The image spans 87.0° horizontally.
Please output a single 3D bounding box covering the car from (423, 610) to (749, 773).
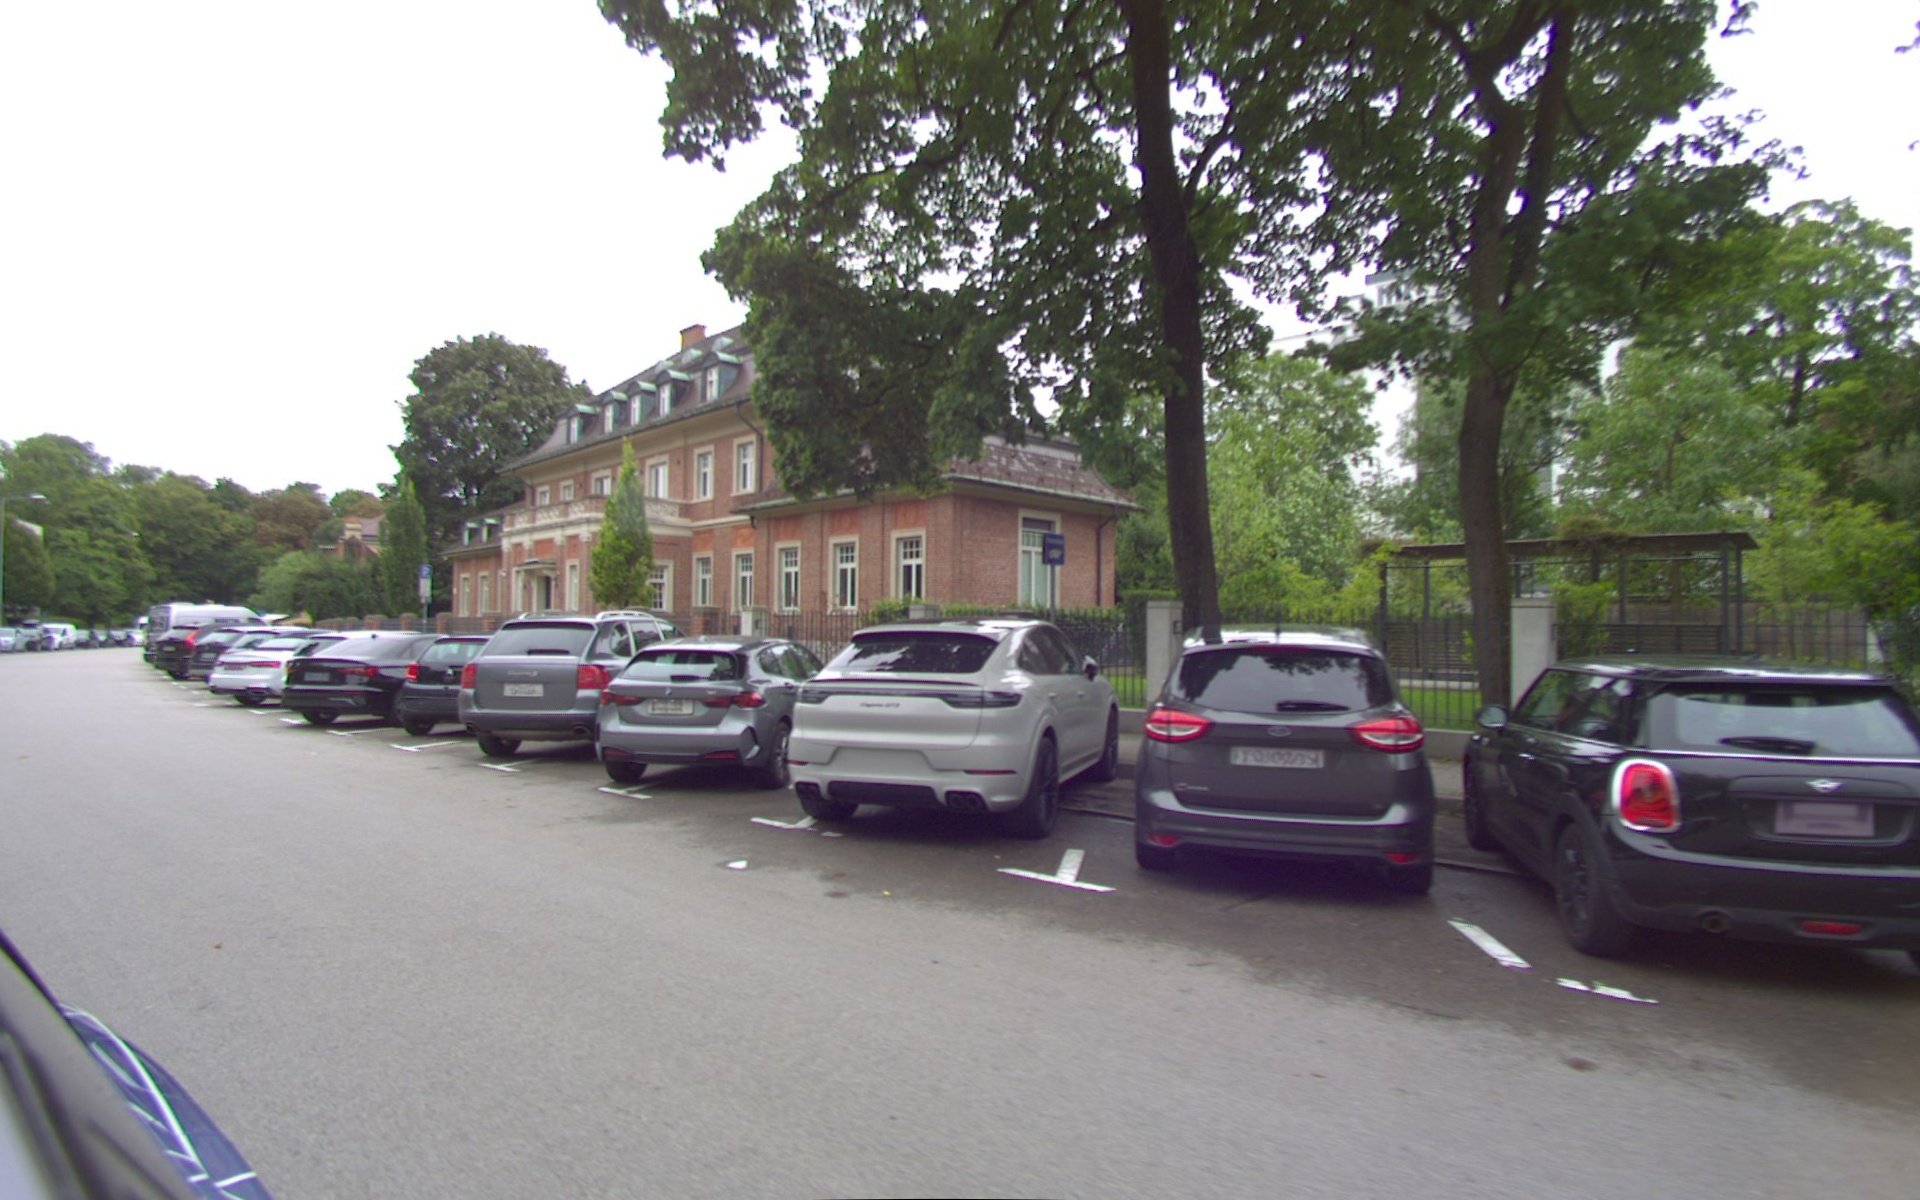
[{"bbox_3d":[-4.533,1.063,13.155,2.112,1.712,4.401,1,-2,8],"label":"car"}]

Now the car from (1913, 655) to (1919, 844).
[{"bbox_3d":[5.810,0.929,3.393,1.718,1.473,4.204,0,-3,10],"label":"car"}]

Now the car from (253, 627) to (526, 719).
[{"bbox_3d":[-10.770,1.405,19.576,1.915,1.521,4.492,0,-4,16],"label":"car"}]

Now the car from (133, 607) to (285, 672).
[{"bbox_3d":[-31.688,1.717,42.848,2.223,2.583,4.594,-1,-4,27],"label":"car"}]

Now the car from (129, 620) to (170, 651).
[{"bbox_3d":[-76.911,3.418,96.119,2.050,2.707,6.106,4,-5,-30],"label":"car"}]

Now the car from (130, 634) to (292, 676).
[{"bbox_3d":[-27.987,2.080,37.986,1.965,1.462,4.491,-1,-4,23],"label":"car"}]

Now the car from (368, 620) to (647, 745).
[{"bbox_3d":[-6.840,1.198,15.923,1.943,1.642,4.401,1,-2,8],"label":"car"}]

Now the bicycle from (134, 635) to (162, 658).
[{"bbox_3d":[-48.457,2.760,60.419,0.696,1.315,2.125,1,-3,-23],"label":"bicycle"}]

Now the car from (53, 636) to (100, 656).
[{"bbox_3d":[-65.576,3.413,75.191,1.723,1.475,4.255,2,-3,-29],"label":"car"}]

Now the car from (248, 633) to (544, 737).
[{"bbox_3d":[-9.044,1.305,16.761,1.944,1.450,4.398,0,-2,10],"label":"car"}]

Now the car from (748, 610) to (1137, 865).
[{"bbox_3d":[0.178,0.978,8.974,2.070,1.633,4.384,0,-2,19],"label":"car"}]

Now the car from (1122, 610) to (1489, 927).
[{"bbox_3d":[2.410,0.951,7.502,1.870,1.611,4.194,0,-2,16],"label":"car"}]

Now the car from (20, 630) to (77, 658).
[{"bbox_3d":[-62.917,3.024,69.936,1.797,1.875,4.913,0,-2,-28],"label":"car"}]

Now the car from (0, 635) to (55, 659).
[{"bbox_3d":[-60.345,3.022,65.447,1.723,1.492,4.611,1,-3,-29],"label":"car"}]

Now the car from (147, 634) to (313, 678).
[{"bbox_3d":[-25.875,2.010,36.073,1.807,1.462,4.495,0,-3,20],"label":"car"}]

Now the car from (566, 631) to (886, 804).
[{"bbox_3d":[-2.296,1.132,11.327,1.994,1.502,4.400,1,-2,9],"label":"car"}]

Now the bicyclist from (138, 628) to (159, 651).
[{"bbox_3d":[-48.390,2.333,60.373,0.687,1.362,0.933,1,-3,-22],"label":"bicyclist"}]

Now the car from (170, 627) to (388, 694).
[{"bbox_3d":[-17.600,1.531,26.450,1.874,1.579,4.499,0,-3,18],"label":"car"}]

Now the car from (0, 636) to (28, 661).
[{"bbox_3d":[-58.260,2.918,61.310,1.723,1.492,3.900,2,-3,-30],"label":"car"}]

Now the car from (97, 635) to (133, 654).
[{"bbox_3d":[-70.711,3.742,84.712,1.263,1.518,5.223,4,-5,-29],"label":"car"}]

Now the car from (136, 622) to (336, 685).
[{"bbox_3d":[-21.452,1.604,30.232,1.973,1.677,4.495,0,-3,20],"label":"car"}]

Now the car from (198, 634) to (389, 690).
[{"bbox_3d":[-19.123,1.801,29.282,1.808,1.483,4.297,0,-4,22],"label":"car"}]

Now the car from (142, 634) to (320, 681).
[{"bbox_3d":[-24.284,1.939,33.922,1.913,1.429,4.495,0,-4,20],"label":"car"}]

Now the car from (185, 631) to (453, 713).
[{"bbox_3d":[-12.862,1.409,20.713,1.880,1.462,4.492,0,-3,16],"label":"car"}]

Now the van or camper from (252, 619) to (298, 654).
[{"bbox_3d":[-60.372,3.256,89.349,2.420,2.963,7.234,3,-4,-27],"label":"van or camper"}]

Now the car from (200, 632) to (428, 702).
[{"bbox_3d":[-14.793,1.510,23.493,1.644,1.462,4.367,-1,-3,19],"label":"car"}]

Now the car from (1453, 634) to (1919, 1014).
[{"bbox_3d":[4.303,0.967,6.012,1.778,1.472,4.194,0,-2,16],"label":"car"}]
